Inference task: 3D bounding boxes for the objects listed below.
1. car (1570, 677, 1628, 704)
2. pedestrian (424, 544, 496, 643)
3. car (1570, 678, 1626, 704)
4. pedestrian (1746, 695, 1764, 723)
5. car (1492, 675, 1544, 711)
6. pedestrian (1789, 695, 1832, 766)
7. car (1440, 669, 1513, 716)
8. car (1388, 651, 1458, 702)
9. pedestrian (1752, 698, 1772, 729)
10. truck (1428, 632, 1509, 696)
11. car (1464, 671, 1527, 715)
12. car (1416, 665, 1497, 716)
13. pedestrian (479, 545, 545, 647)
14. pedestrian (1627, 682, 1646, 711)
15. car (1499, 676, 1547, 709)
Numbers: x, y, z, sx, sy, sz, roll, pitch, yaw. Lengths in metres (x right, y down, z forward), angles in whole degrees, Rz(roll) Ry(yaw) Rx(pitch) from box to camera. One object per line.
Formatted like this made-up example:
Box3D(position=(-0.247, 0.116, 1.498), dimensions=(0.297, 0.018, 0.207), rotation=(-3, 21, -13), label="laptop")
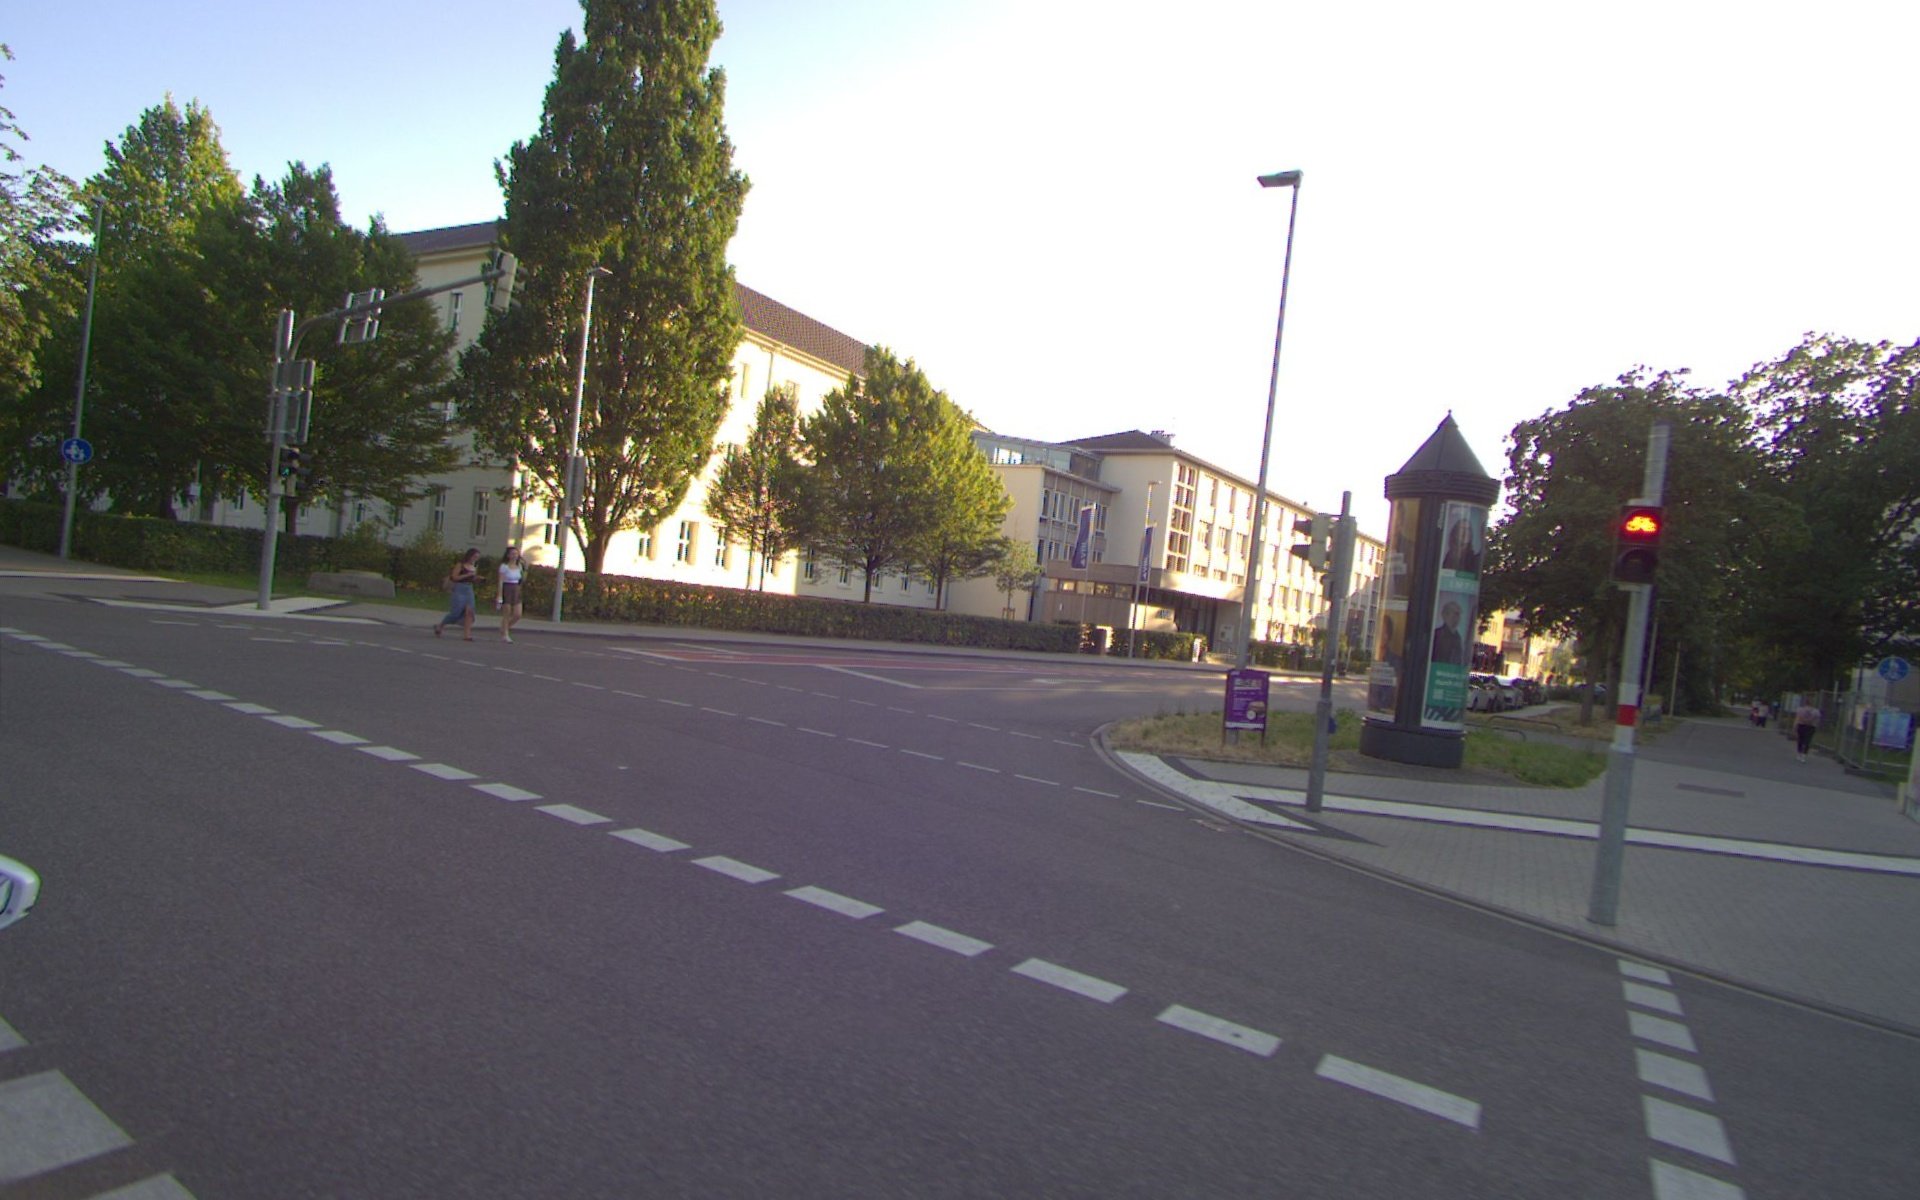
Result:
Box3D(position=(50.982, 7.209, 80.326), dimensions=(3.748, 1.802, 1.931), rotation=(2, -4, 31), label="car")
Box3D(position=(-8.905, -0.117, 17.917), dimensions=(0.831, 1.643, 0.681), rotation=(7, 1, 31), label="pedestrian")
Box3D(position=(52.368, 7.480, 82.618), dimensions=(3.748, 1.802, 1.931), rotation=(2, -4, 31), label="car")
Box3D(position=(49.915, 6.857, 63.171), dimensions=(0.672, 1.643, 0.686), rotation=(7, 1, 36), label="pedestrian")
Box3D(position=(30.441, 5.056, 54.848), dimensions=(1.969, 1.660, 3.988), rotation=(7, 0, 35), label="car")
Box3D(position=(22.637, 3.454, 26.785), dimensions=(0.694, 1.760, 0.892), rotation=(7, 1, 40), label="pedestrian")
Box3D(position=(21.841, 3.899, 42.494), dimensions=(1.970, 1.631, 3.986), rotation=(7, 0, 37), label="car")
Box3D(position=(21.478, 3.591, 46.567), dimensions=(2.024, 1.883, 4.488), rotation=(7, -3, 35), label="car")
Box3D(position=(45.217, 6.395, 56.716), dimensions=(0.672, 1.643, 0.686), rotation=(7, 1, 36), label="pedestrian")
Box3D(position=(29.758, 3.837, 58.595), dimensions=(2.599, 3.178, 10.246), rotation=(6, -1, 34), label="truck")
Box3D(position=(24.779, 4.271, 46.453), dimensions=(1.969, 1.660, 3.988), rotation=(7, 0, 35), label="car")
Box3D(position=(19.158, 3.488, 38.749), dimensions=(1.872, 1.660, 3.984), rotation=(7, 0, 38), label="car")
Box3D(position=(-8.264, -0.060, 18.571), dimensions=(0.677, 1.776, 0.681), rotation=(7, 1, 31), label="pedestrian")
Box3D(position=(40.995, 5.830, 60.954), dimensions=(0.679, 1.643, 0.679), rotation=(7, 1, 43), label="pedestrian")
Box3D(position=(33.344, 5.467, 59.536), dimensions=(1.969, 1.660, 3.988), rotation=(7, 0, 35), label="car")
